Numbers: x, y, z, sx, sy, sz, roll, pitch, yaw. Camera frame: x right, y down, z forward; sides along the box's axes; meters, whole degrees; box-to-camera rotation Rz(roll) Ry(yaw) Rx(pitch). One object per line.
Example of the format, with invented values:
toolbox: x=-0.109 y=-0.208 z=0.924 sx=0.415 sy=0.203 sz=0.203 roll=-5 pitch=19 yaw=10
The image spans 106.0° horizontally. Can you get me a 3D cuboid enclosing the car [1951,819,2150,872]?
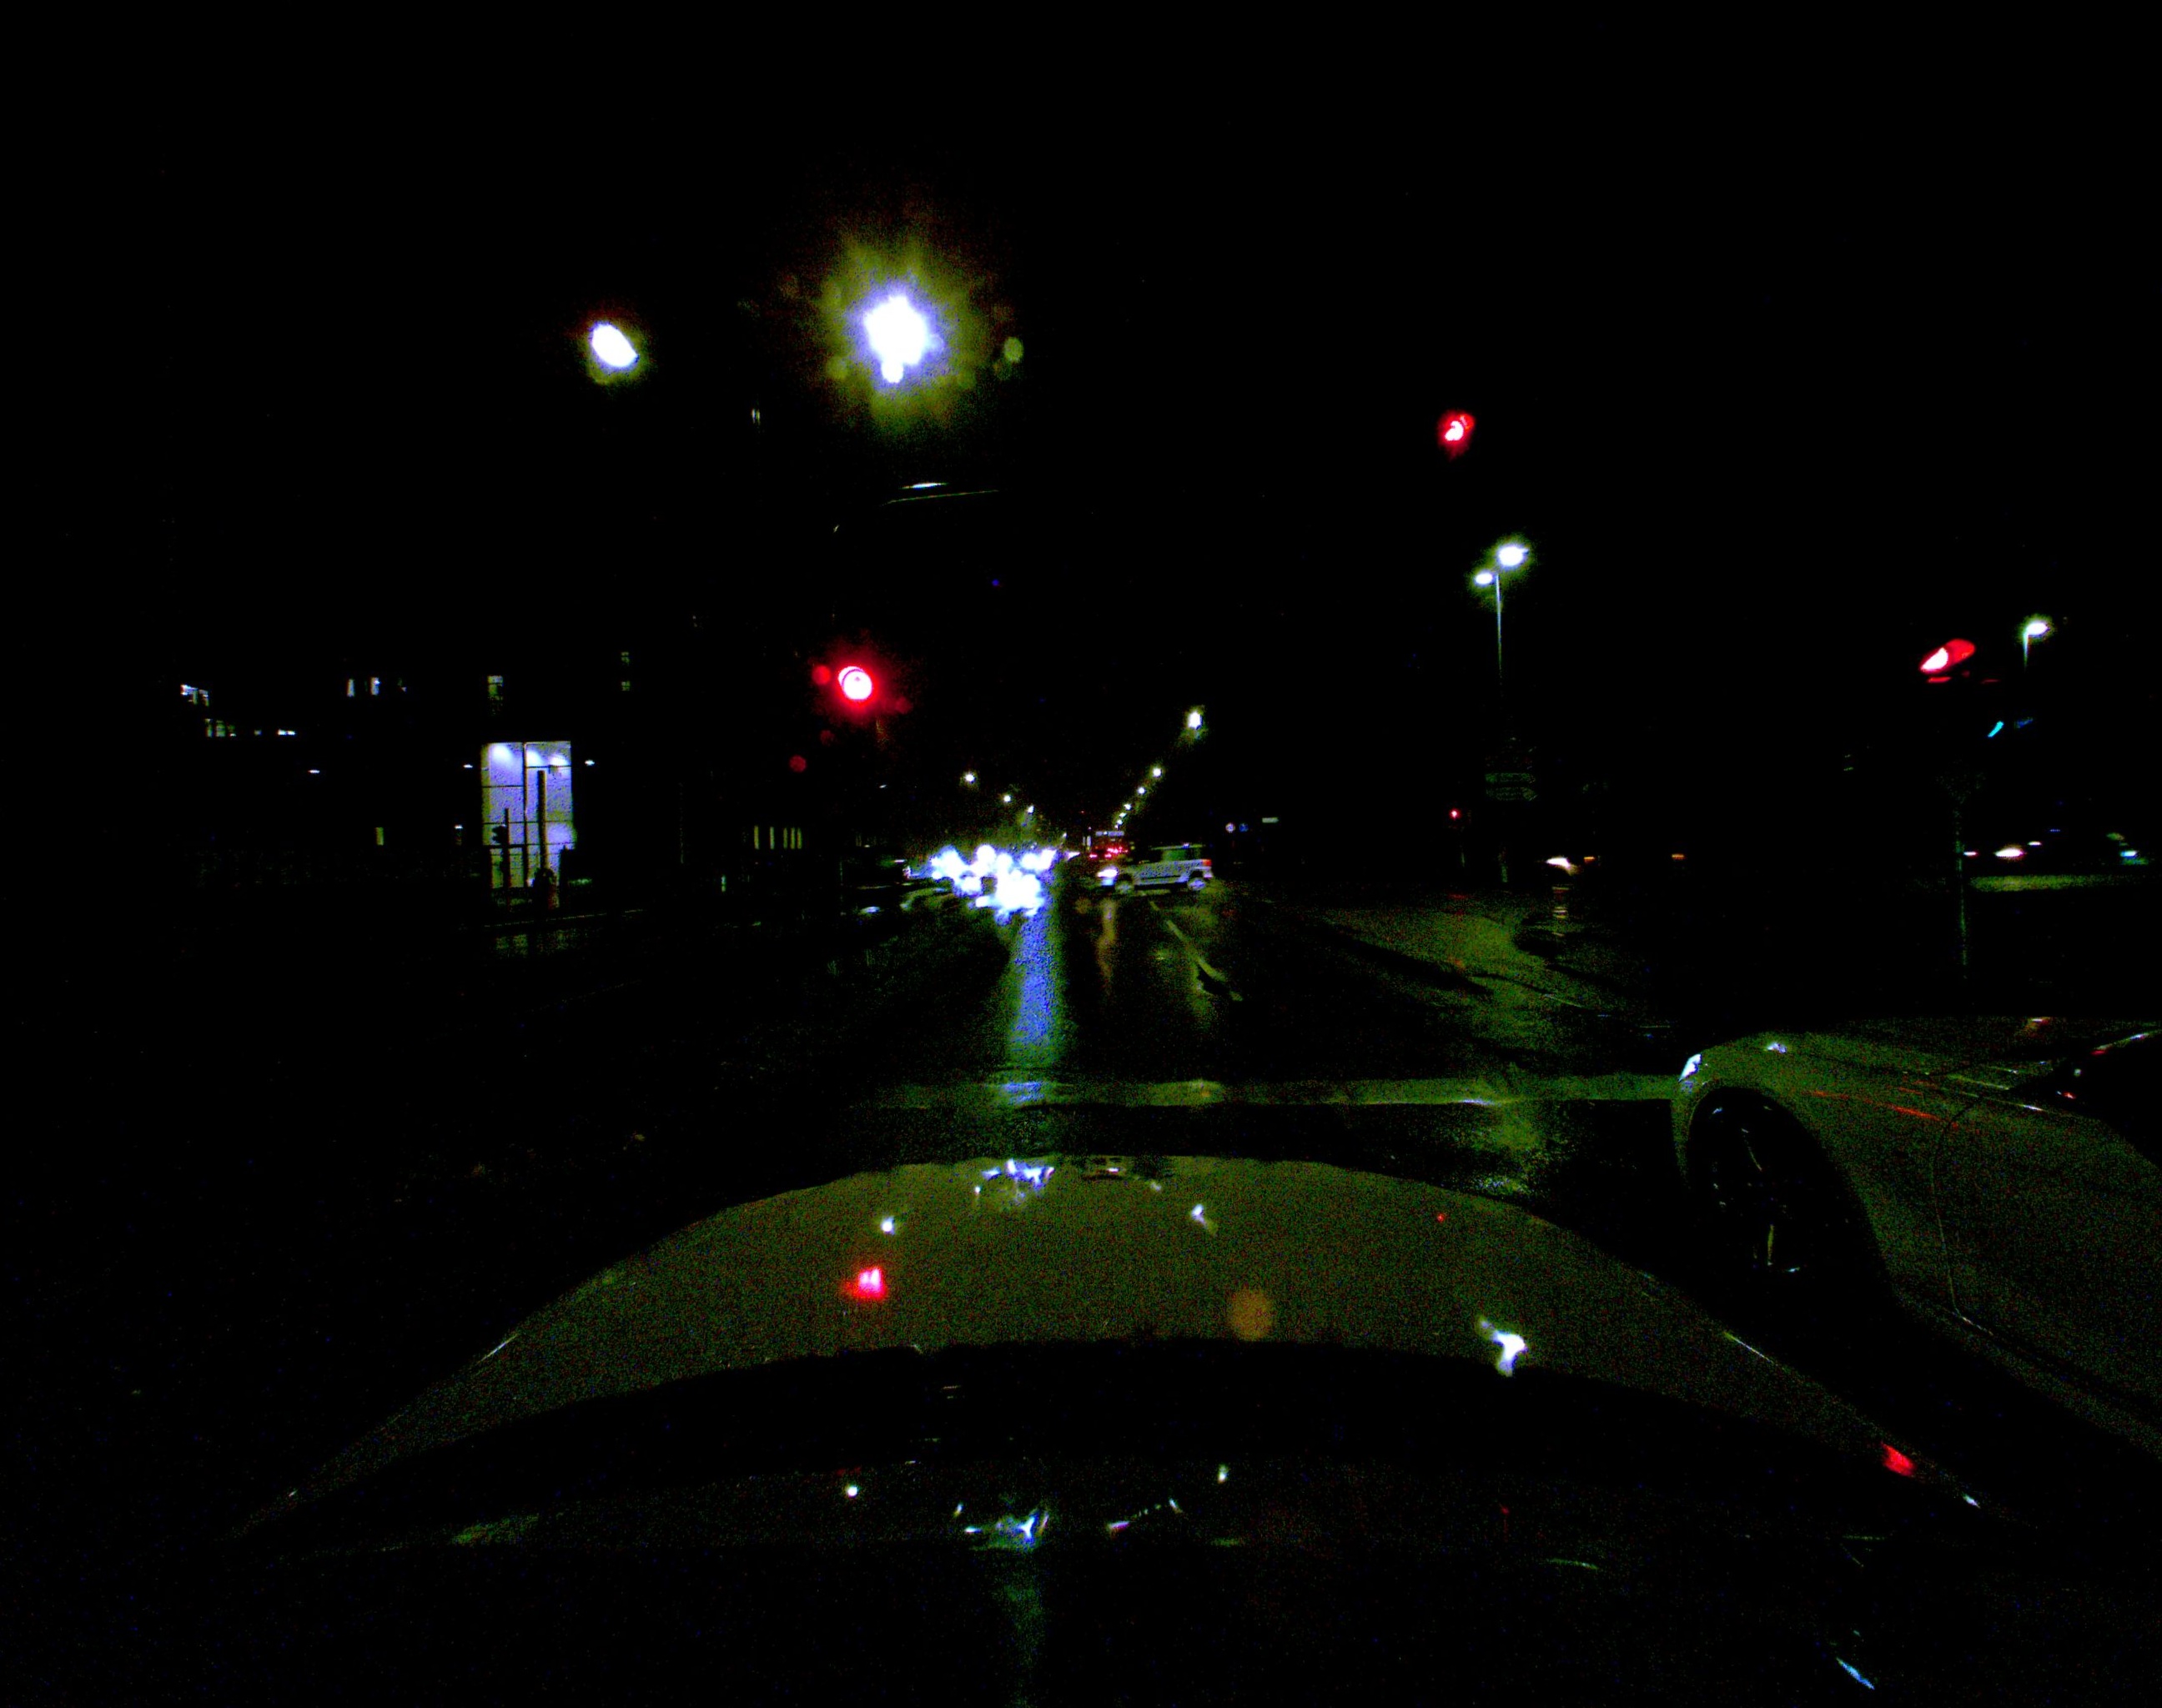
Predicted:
car: x=32.347 y=-0.261 z=27.285 sx=4.047 sy=1.588 sz=1.915 roll=1 pitch=-4 yaw=6

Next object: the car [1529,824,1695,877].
car: x=18.291 y=-0.113 z=28.235 sx=4.469 sy=1.749 sz=1.863 roll=0 pitch=-1 yaw=6

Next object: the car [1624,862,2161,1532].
car: x=3.122 y=0.722 z=1.305 sx=1.710 sy=1.404 sz=4.351 roll=0 pitch=-1 yaw=2

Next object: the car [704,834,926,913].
car: x=-6.467 y=0.443 z=20.305 sx=1.946 sy=1.741 sz=4.948 roll=-1 pitch=-1 yaw=41

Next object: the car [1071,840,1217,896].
car: x=2.033 y=0.430 z=26.646 sx=4.397 sy=1.741 sz=1.898 roll=0 pitch=-1 yaw=-19

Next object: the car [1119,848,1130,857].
car: x=8.671 y=-0.358 z=162.137 sx=1.986 sy=1.759 sz=4.001 roll=0 pitch=-1 yaw=2

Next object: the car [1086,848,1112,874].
car: x=1.436 y=0.592 z=66.633 sx=1.988 sy=2.014 sz=4.629 roll=0 pitch=-1 yaw=-1
